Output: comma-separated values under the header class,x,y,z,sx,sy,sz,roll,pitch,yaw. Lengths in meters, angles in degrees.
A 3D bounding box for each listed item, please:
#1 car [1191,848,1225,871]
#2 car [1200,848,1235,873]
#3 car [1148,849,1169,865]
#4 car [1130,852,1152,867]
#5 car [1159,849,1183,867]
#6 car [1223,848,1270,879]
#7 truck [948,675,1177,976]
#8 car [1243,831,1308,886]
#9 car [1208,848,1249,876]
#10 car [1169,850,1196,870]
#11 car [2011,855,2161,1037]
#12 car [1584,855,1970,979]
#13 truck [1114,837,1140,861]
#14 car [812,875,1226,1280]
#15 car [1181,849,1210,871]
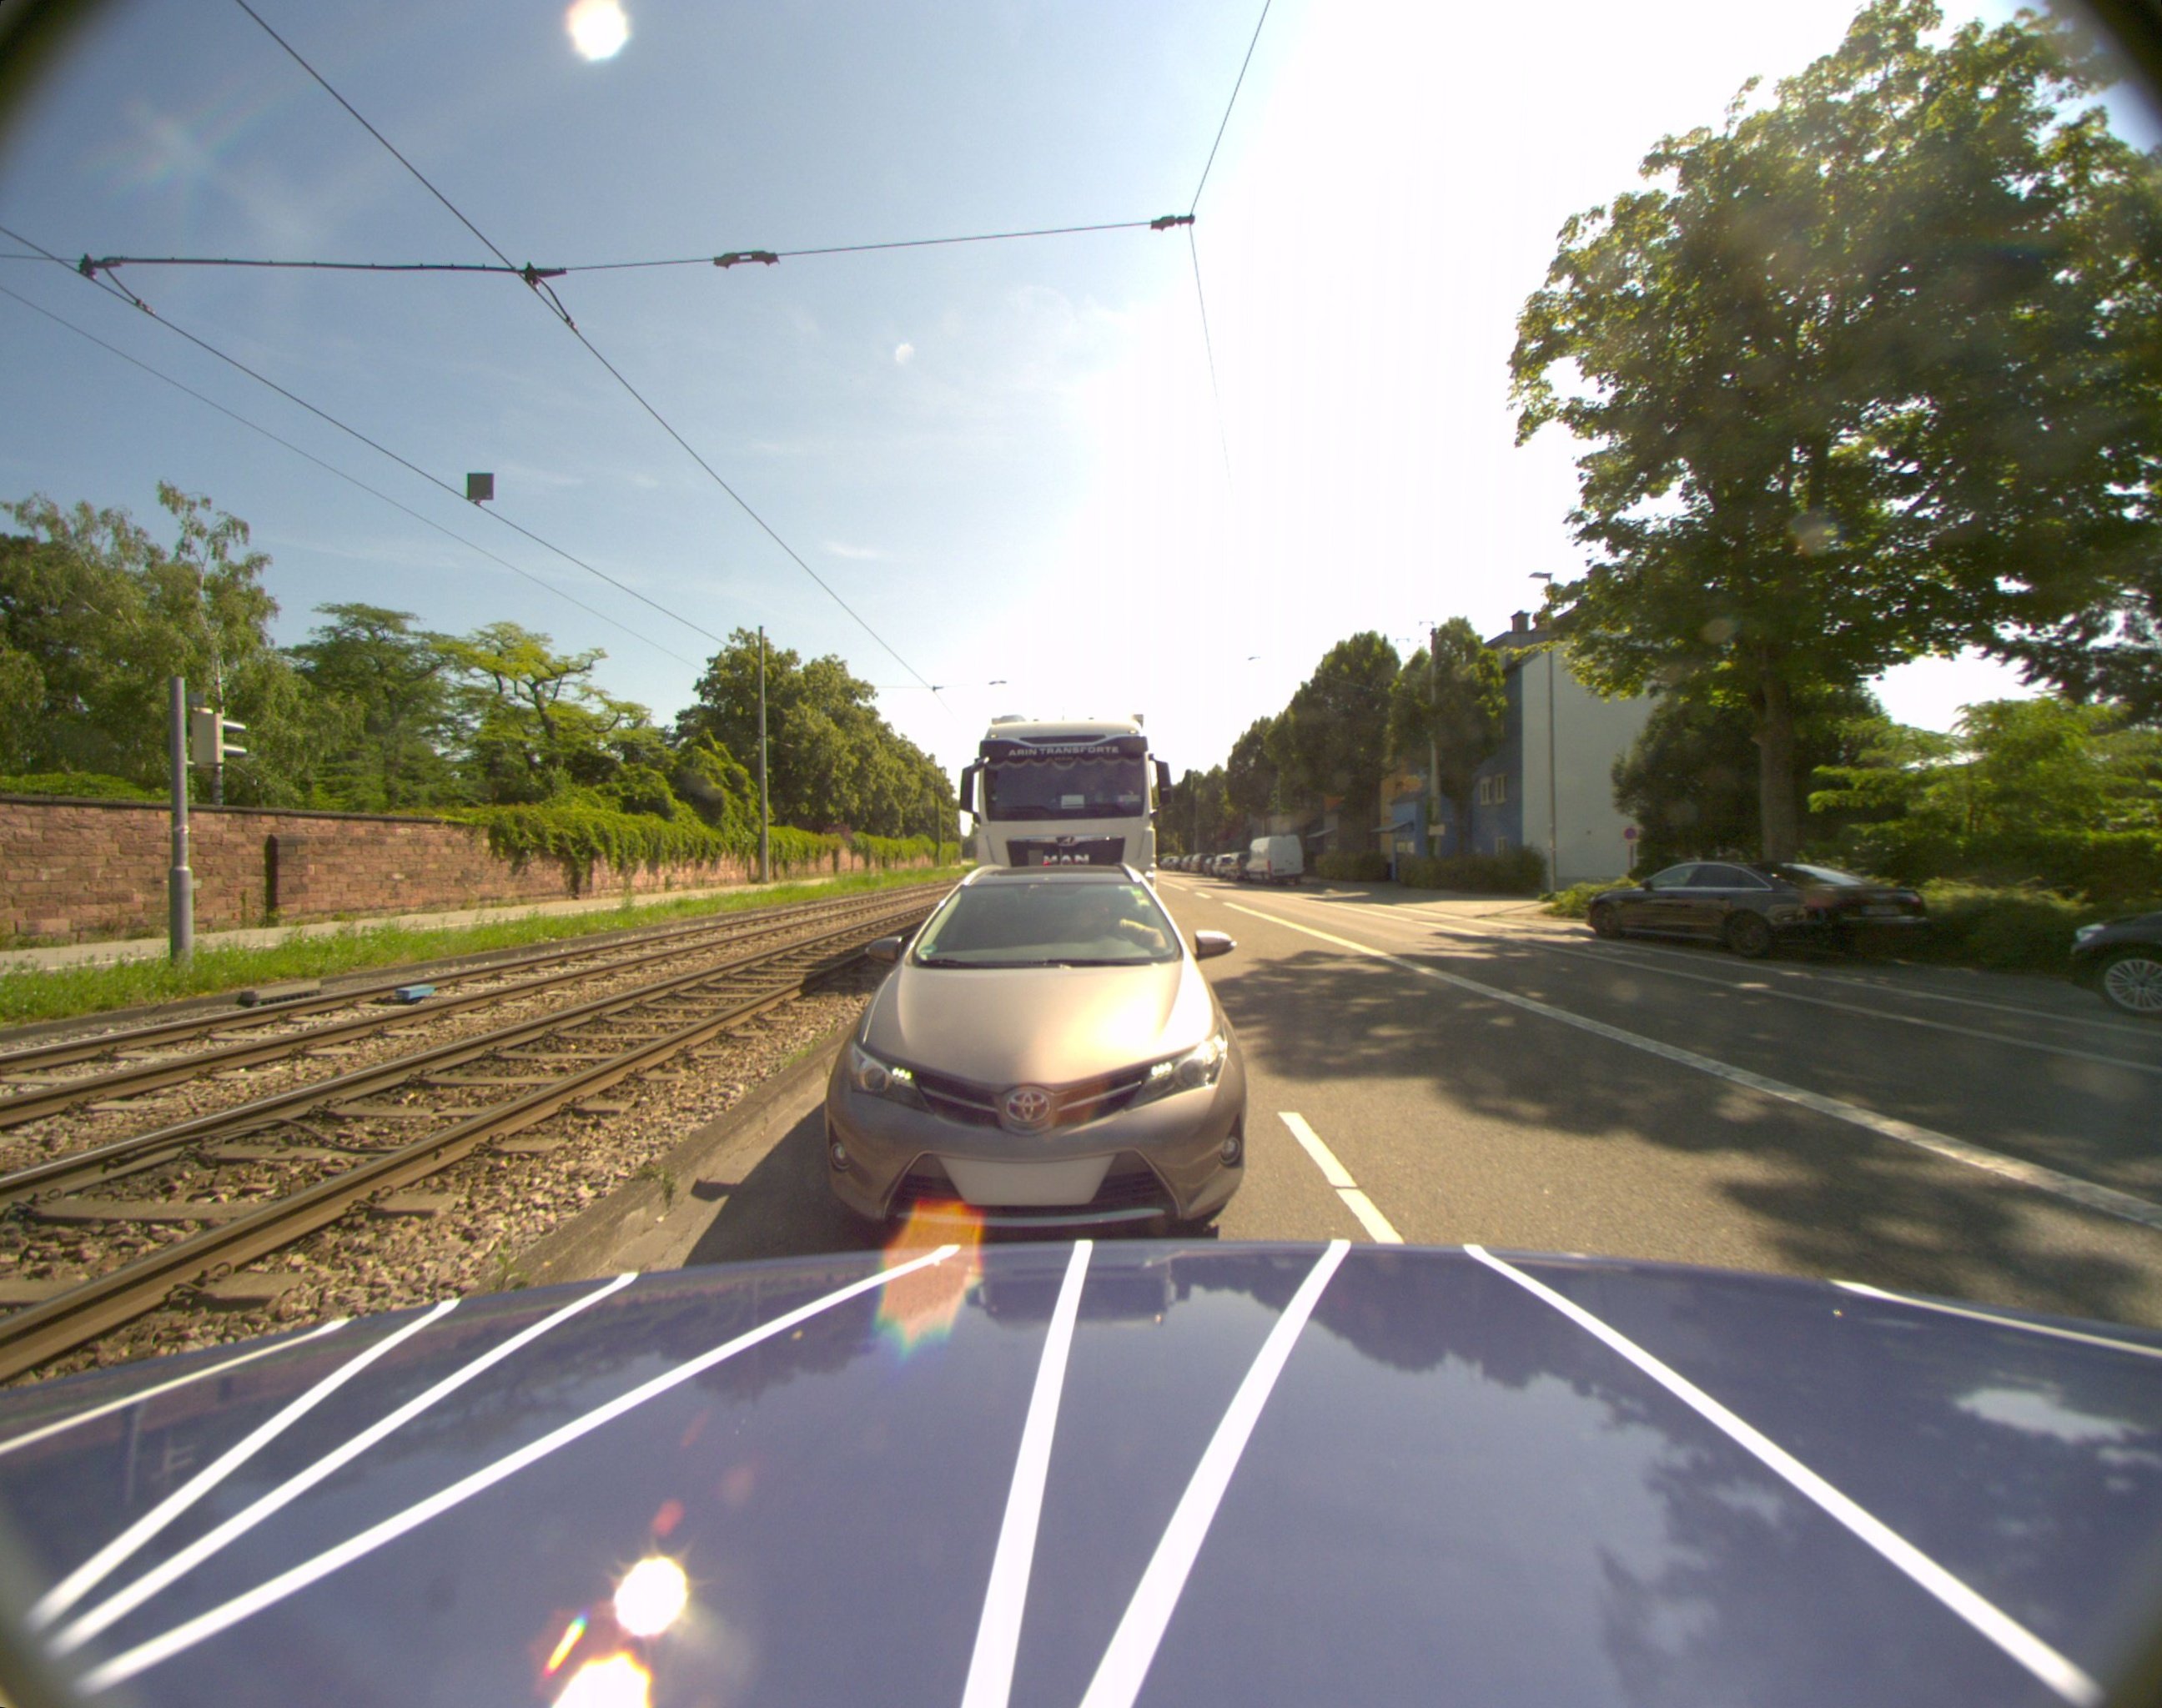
class,x,y,z,sx,sy,sz,roll,pitch,yaw
car,11.258,0.487,67.673,1.998,1.795,4.769,-6,0,0
car,11.228,0.528,62.862,1.998,1.795,4.256,-6,0,0
car,9.883,0.410,96.877,1.998,1.795,4.769,-6,0,0
car,8.288,0.791,105.569,1.999,1.795,5.111,-6,0,-4
car,10.159,0.482,85.910,1.998,1.795,4.769,-6,0,0
car,11.144,0.631,51.446,1.998,1.795,4.769,-6,0,0
truck,-0.139,-0.385,17.226,2.935,3.856,14.912,0,0,1
car,10.915,0.247,43.150,1.998,2.678,6.214,-6,0,2
car,11.078,0.575,57.379,1.998,1.795,4.769,-6,0,0
car,10.579,0.629,79.167,1.998,1.795,4.769,-6,0,0
car,10.587,0.822,5.569,1.868,1.562,4.621,-2,0,0
car,10.563,0.822,12.159,1.868,1.562,4.621,-1,0,-2
truck,6.995,-0.680,116.107,2.704,3.263,6.724,-6,0,-5
car,-0.212,0.910,4.901,1.573,1.422,4.000,0,0,1
car,11.010,0.556,73.377,1.998,1.795,4.769,-6,0,0
